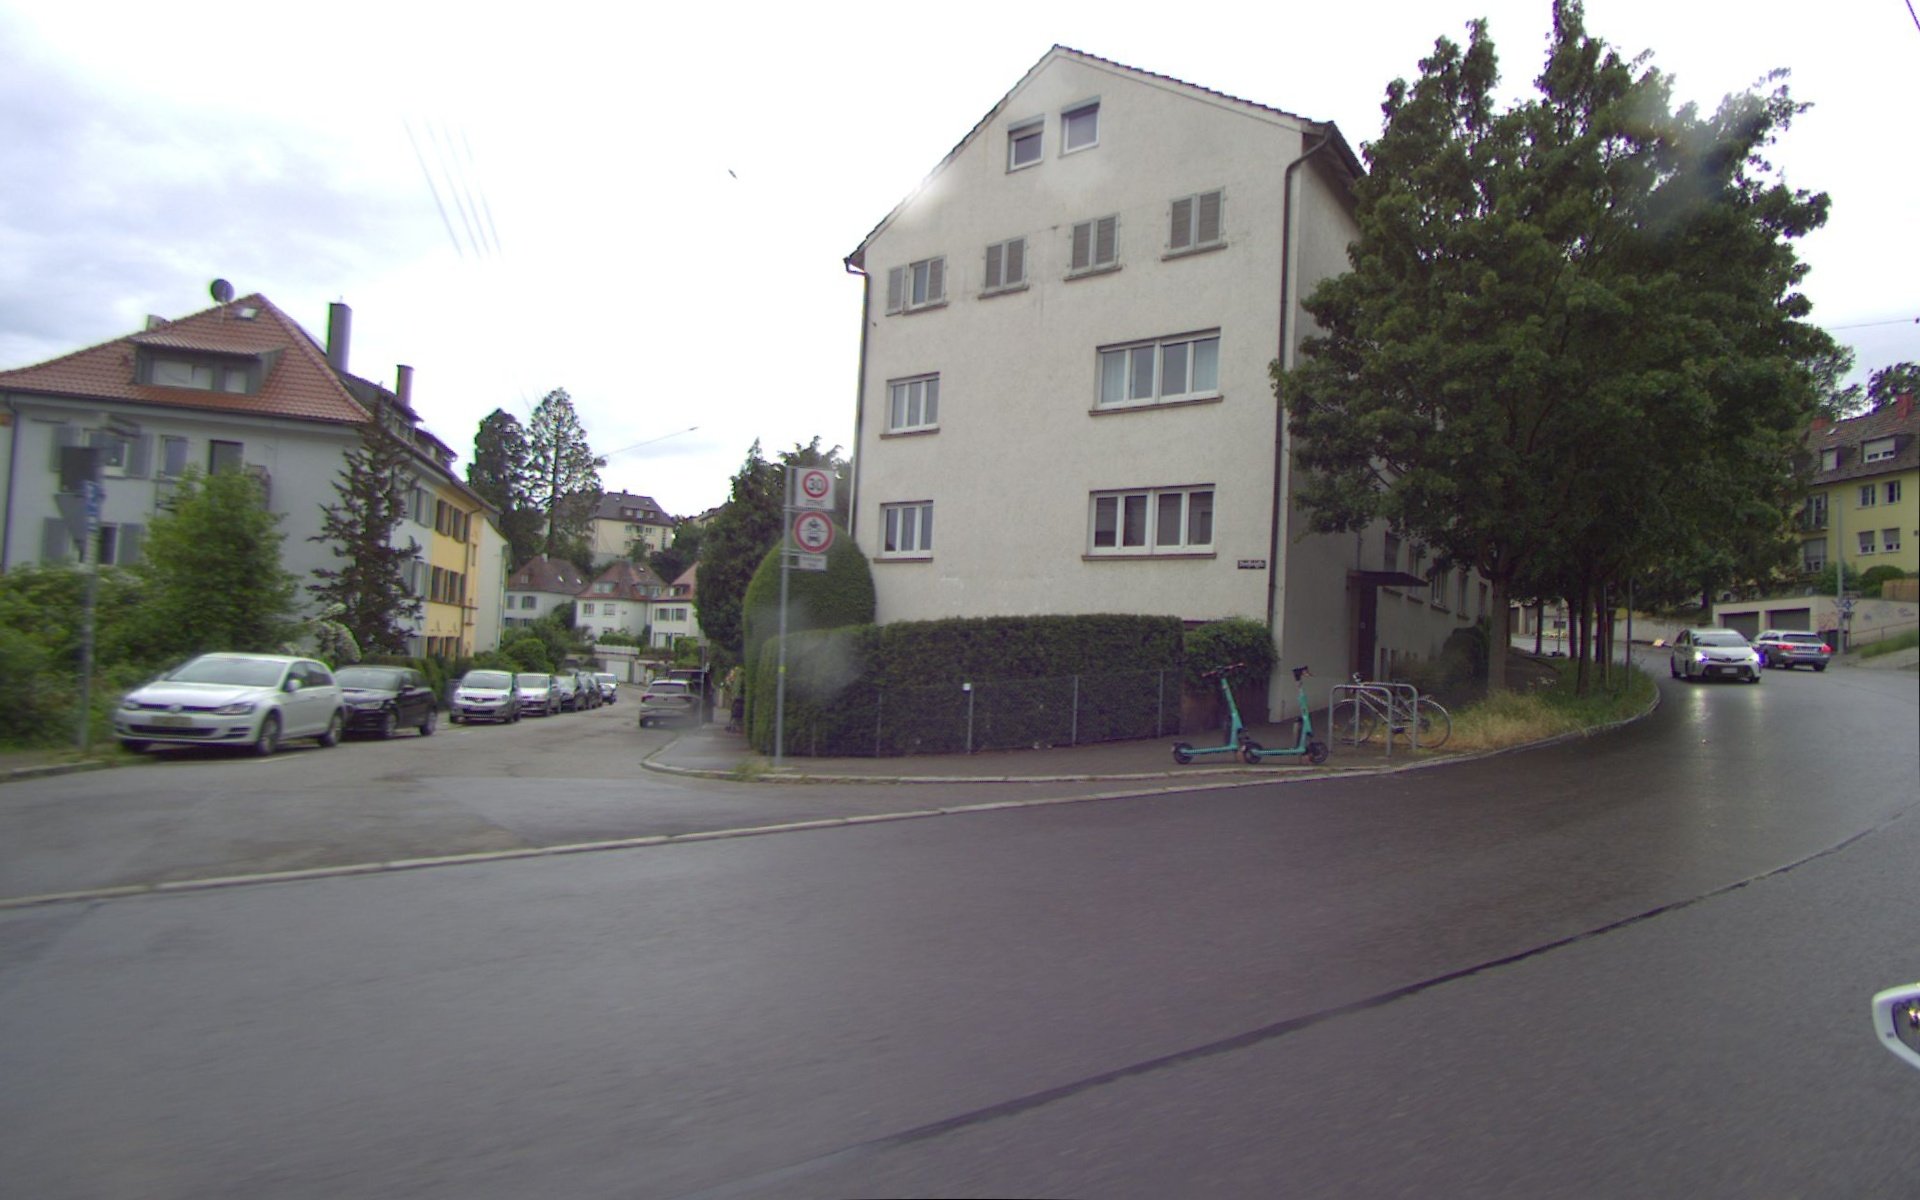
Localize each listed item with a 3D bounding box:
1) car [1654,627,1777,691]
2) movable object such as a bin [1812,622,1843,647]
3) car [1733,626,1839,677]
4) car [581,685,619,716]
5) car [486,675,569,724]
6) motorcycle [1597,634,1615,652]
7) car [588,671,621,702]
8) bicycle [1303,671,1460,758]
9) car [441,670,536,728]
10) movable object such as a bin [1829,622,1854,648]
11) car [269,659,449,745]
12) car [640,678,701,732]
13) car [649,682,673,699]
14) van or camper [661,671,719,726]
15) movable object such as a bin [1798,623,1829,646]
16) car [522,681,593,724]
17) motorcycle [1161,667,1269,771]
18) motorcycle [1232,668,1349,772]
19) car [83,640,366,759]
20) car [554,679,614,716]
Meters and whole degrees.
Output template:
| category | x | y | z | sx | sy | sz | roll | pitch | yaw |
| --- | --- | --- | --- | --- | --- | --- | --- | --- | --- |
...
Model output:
| category | x | y | z | sx | sy | sz | roll | pitch | yaw |
| --- | --- | --- | --- | --- | --- | --- | --- | --- | --- |
| car | 23.377 | 1.798 | 31.300 | 1.953 | 1.812 | 4.692 | -3 | -3 | 24 |
| movable object such as a bin | 42.523 | 1.688 | 49.240 | 0.845 | 1.201 | 0.787 | 0 | -1 | -1 |
| car | 31.830 | 1.942 | 38.844 | 1.918 | 1.582 | 4.260 | 3 | 2 | 22 |
| car | -22.174 | 6.158 | 61.919 | 1.968 | 1.627 | 3.986 | 0 | -2 | -17 |
| car | -15.394 | 3.586 | 35.965 | 1.966 | 1.626 | 3.994 | 2 | -7 | -13 |
| motorcycle | 43.749 | 2.881 | 68.030 | 0.539 | 1.147 | 1.441 | 1 | 0 | 15 |
| car | -25.069 | 6.071 | 70.951 | 1.968 | 1.949 | 3.986 | 0 | -2 | -17 |
| bicycle | 6.004 | 1.594 | 14.360 | 1.939 | 1.074 | 0.751 | -1 | -2 | 40 |
| car | -14.280 | 3.055 | 30.637 | 1.827 | 1.626 | 3.992 | 2 | -7 | -14 |
| movable object such as a bin | 42.579 | 1.684 | 48.526 | 0.690 | 1.239 | 0.581 | 0 | -1 | -1 |
| car | -12.049 | 2.108 | 20.476 | 1.966 | 1.536 | 4.097 | 2 | -7 | -14 |
| car | -9.420 | 3.433 | 32.826 | 1.723 | 1.626 | 3.991 | 2 | -7 | -15 |
| car | -26.399 | 8.014 | 88.658 | 1.726 | 1.381 | 3.984 | 3 | -7 | -20 |
| van or camper | -9.902 | 3.651 | 36.897 | 1.894 | 1.872 | 3.572 | 2 | -7 | -15 |
| movable object such as a bin | 42.509 | 1.719 | 50.048 | 0.845 | 1.157 | 0.799 | 0 | -1 | -1 |
| car | -16.215 | 4.177 | 40.692 | 1.966 | 1.626 | 3.994 | 2 | -7 | -13 |
| motorcycle | 3.277 | 1.498 | 12.915 | 1.286 | 1.244 | 0.551 | 1 | -1 | -22 |
| motorcycle | 4.168 | 1.487 | 12.669 | 1.378 | 1.219 | 0.556 | 1 | -1 | -22 |
| car | -10.834 | 1.540 | 15.239 | 1.966 | 1.536 | 4.097 | 2 | -7 | -14 |
| car | -17.260 | 4.525 | 46.317 | 1.966 | 1.626 | 3.994 | 2 | -7 | -13 |
